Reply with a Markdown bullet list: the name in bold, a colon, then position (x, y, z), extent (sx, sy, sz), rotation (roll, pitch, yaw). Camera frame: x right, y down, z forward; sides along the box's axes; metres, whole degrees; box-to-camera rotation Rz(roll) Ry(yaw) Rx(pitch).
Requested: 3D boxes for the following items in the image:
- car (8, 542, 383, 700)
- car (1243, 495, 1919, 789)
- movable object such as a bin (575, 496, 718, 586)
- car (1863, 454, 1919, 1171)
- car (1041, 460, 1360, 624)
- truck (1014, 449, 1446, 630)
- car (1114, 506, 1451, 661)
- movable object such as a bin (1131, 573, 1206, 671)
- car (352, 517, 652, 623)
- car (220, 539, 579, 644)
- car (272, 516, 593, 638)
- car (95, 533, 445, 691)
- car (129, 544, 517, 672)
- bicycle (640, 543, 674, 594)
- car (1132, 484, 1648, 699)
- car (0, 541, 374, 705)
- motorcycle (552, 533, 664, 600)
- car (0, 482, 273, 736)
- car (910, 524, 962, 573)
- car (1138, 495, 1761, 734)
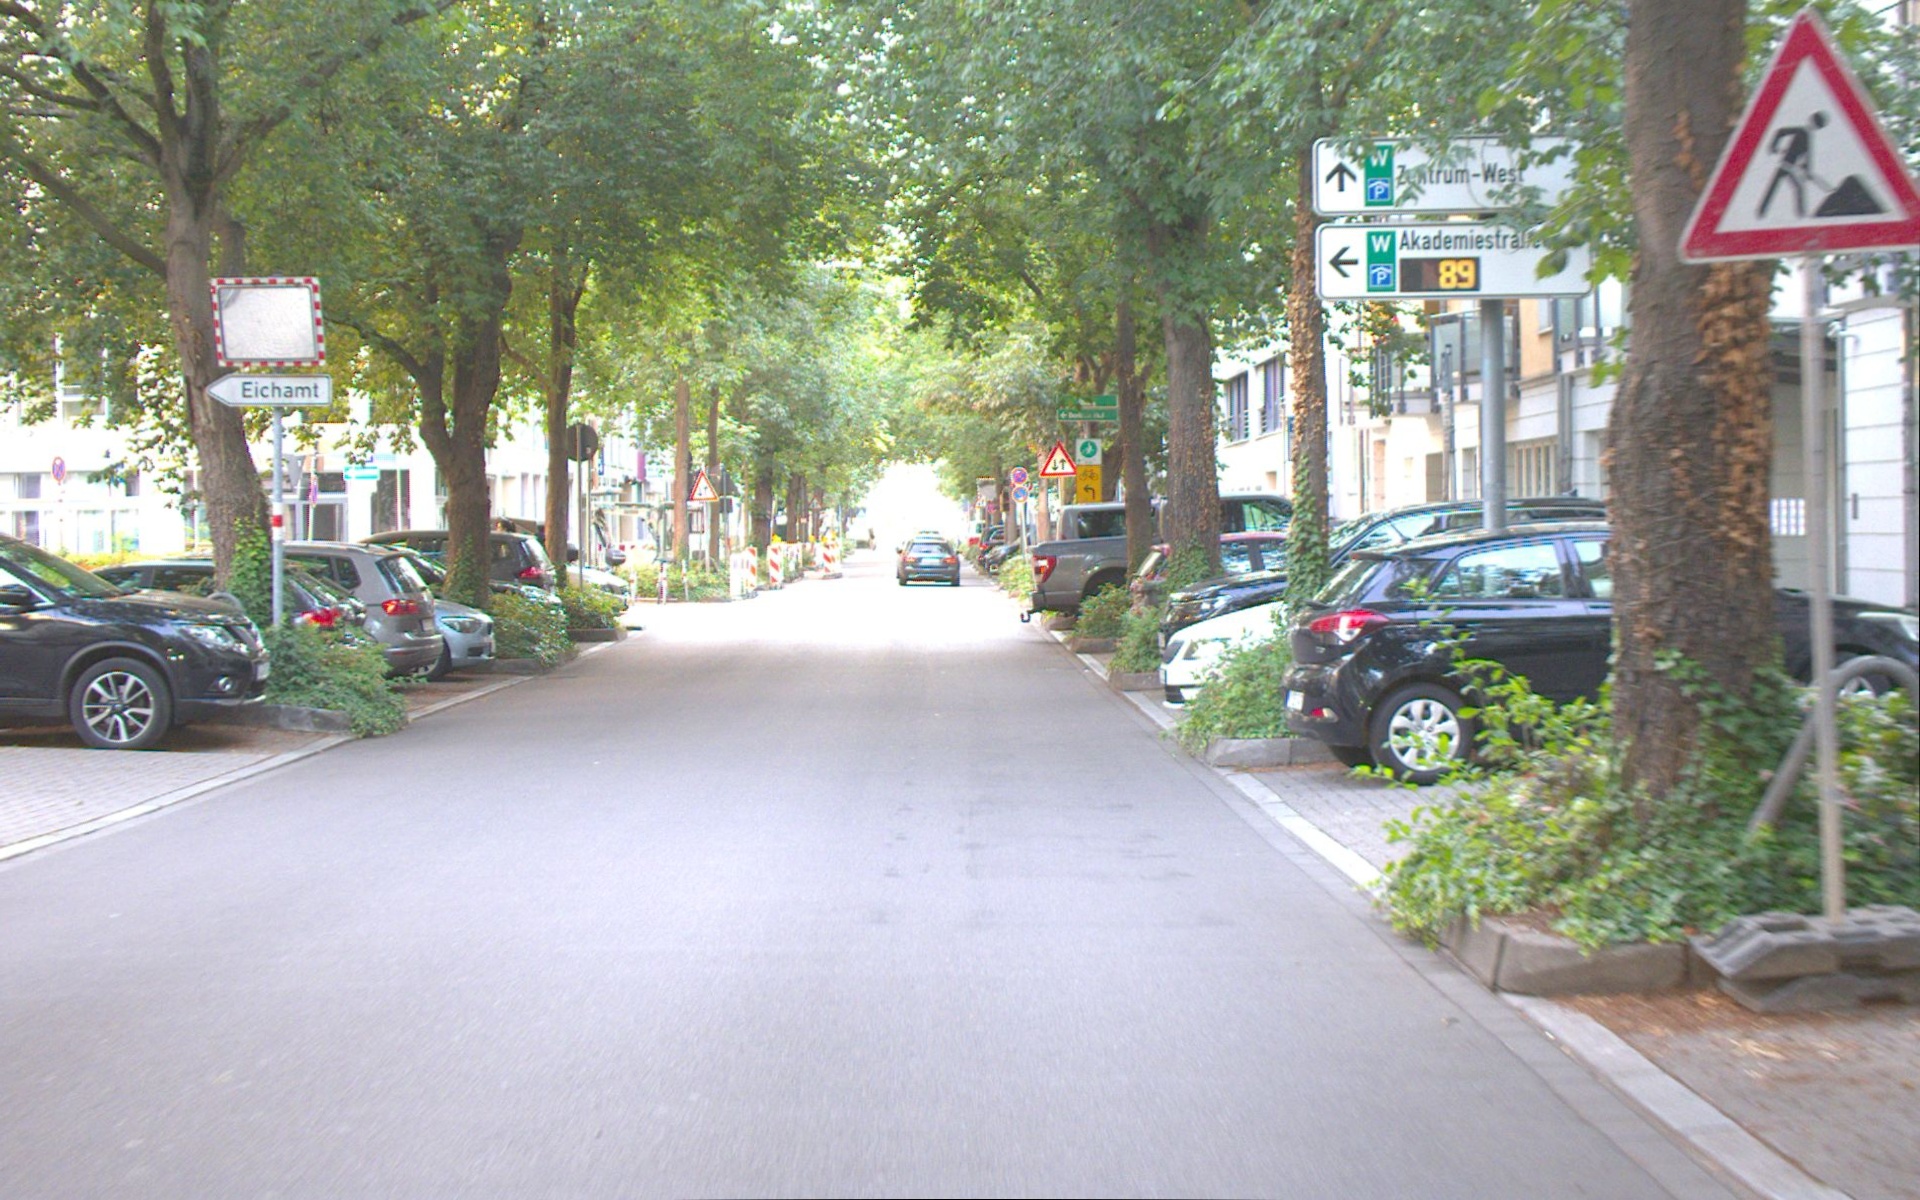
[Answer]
- **car**: position (-7.598, 0.187, 34.386), extent (3.404, 1.501, 1.665), rotation (-1, 1, -2)
- **car**: position (3.916, 0.222, 21.195), extent (3.986, 1.469, 1.914), rotation (-4, 1, -4)
- **movable object such as a bin**: position (-8.448, -1.592, 92.961), extent (3.665, 2.325, 2.584), rotation (-1, 1, -2)
- **car**: position (4.117, 0.406, 7.194), extent (3.862, 1.661, 1.926), rotation (-3, 1, 0)
- **car**: position (3.666, -0.894, 53.082), extent (4.620, 2.125, 2.037), rotation (-4, 1, 0)
- **truck**: position (3.897, -0.894, 50.510), extent (6.004, 2.125, 2.261), rotation (-5, 1, 0)
- **car**: position (3.790, -0.191, 40.823), extent (3.664, 1.543, 1.781), rotation (-4, 0, -2)
- **movable object such as a bin**: position (2.313, 0.236, 38.147), extent (0.774, 1.064, 0.589), rotation (-1, 1, -1)
- **car**: position (-7.305, -0.477, 55.117), extent (4.498, 1.576, 2.055), rotation (1, 1, 0)
- **car**: position (-7.756, -0.137, 47.924), extent (4.715, 1.419, 2.072), rotation (0, 1, -2)
- **car**: position (-7.644, -0.352, 50.153), extent (4.395, 1.679, 2.064), rotation (1, 1, -2)
- **car**: position (-7.294, 0.105, 36.581), extent (3.404, 1.604, 1.761), rotation (-1, 1, -2)
- **car**: position (-7.138, 0.077, 38.812), extent (4.099, 1.375, 1.747), rotation (1, 1, -2)
- **bicycle**: position (-6.833, -0.719, 77.583), extent (0.601, 1.114, 1.800), rotation (-1, 2, 0)
- **car**: position (4.003, -0.094, 32.375), extent (4.382, 1.698, 1.896), rotation (-4, 1, -8)
- **car**: position (-7.230, 0.193, 31.689), extent (3.404, 1.437, 1.594), rotation (-1, 1, -2)
- **motorcycle**: position (-7.661, -0.738, 74.918), extent (2.373, 1.436, 0.801), rotation (-2, 1, -40)
- **car**: position (-7.696, 0.047, 26.504), extent (4.418, 1.886, 2.000), rotation (0, 1, -1)
- **car**: position (-0.714, -1.557, 102.828), extent (1.500, 1.411, 3.714), rotation (-1, 1, 0)
- **car**: position (3.792, 0.094, 27.175), extent (4.572, 1.546, 1.773), rotation (-3, 1, -1)
